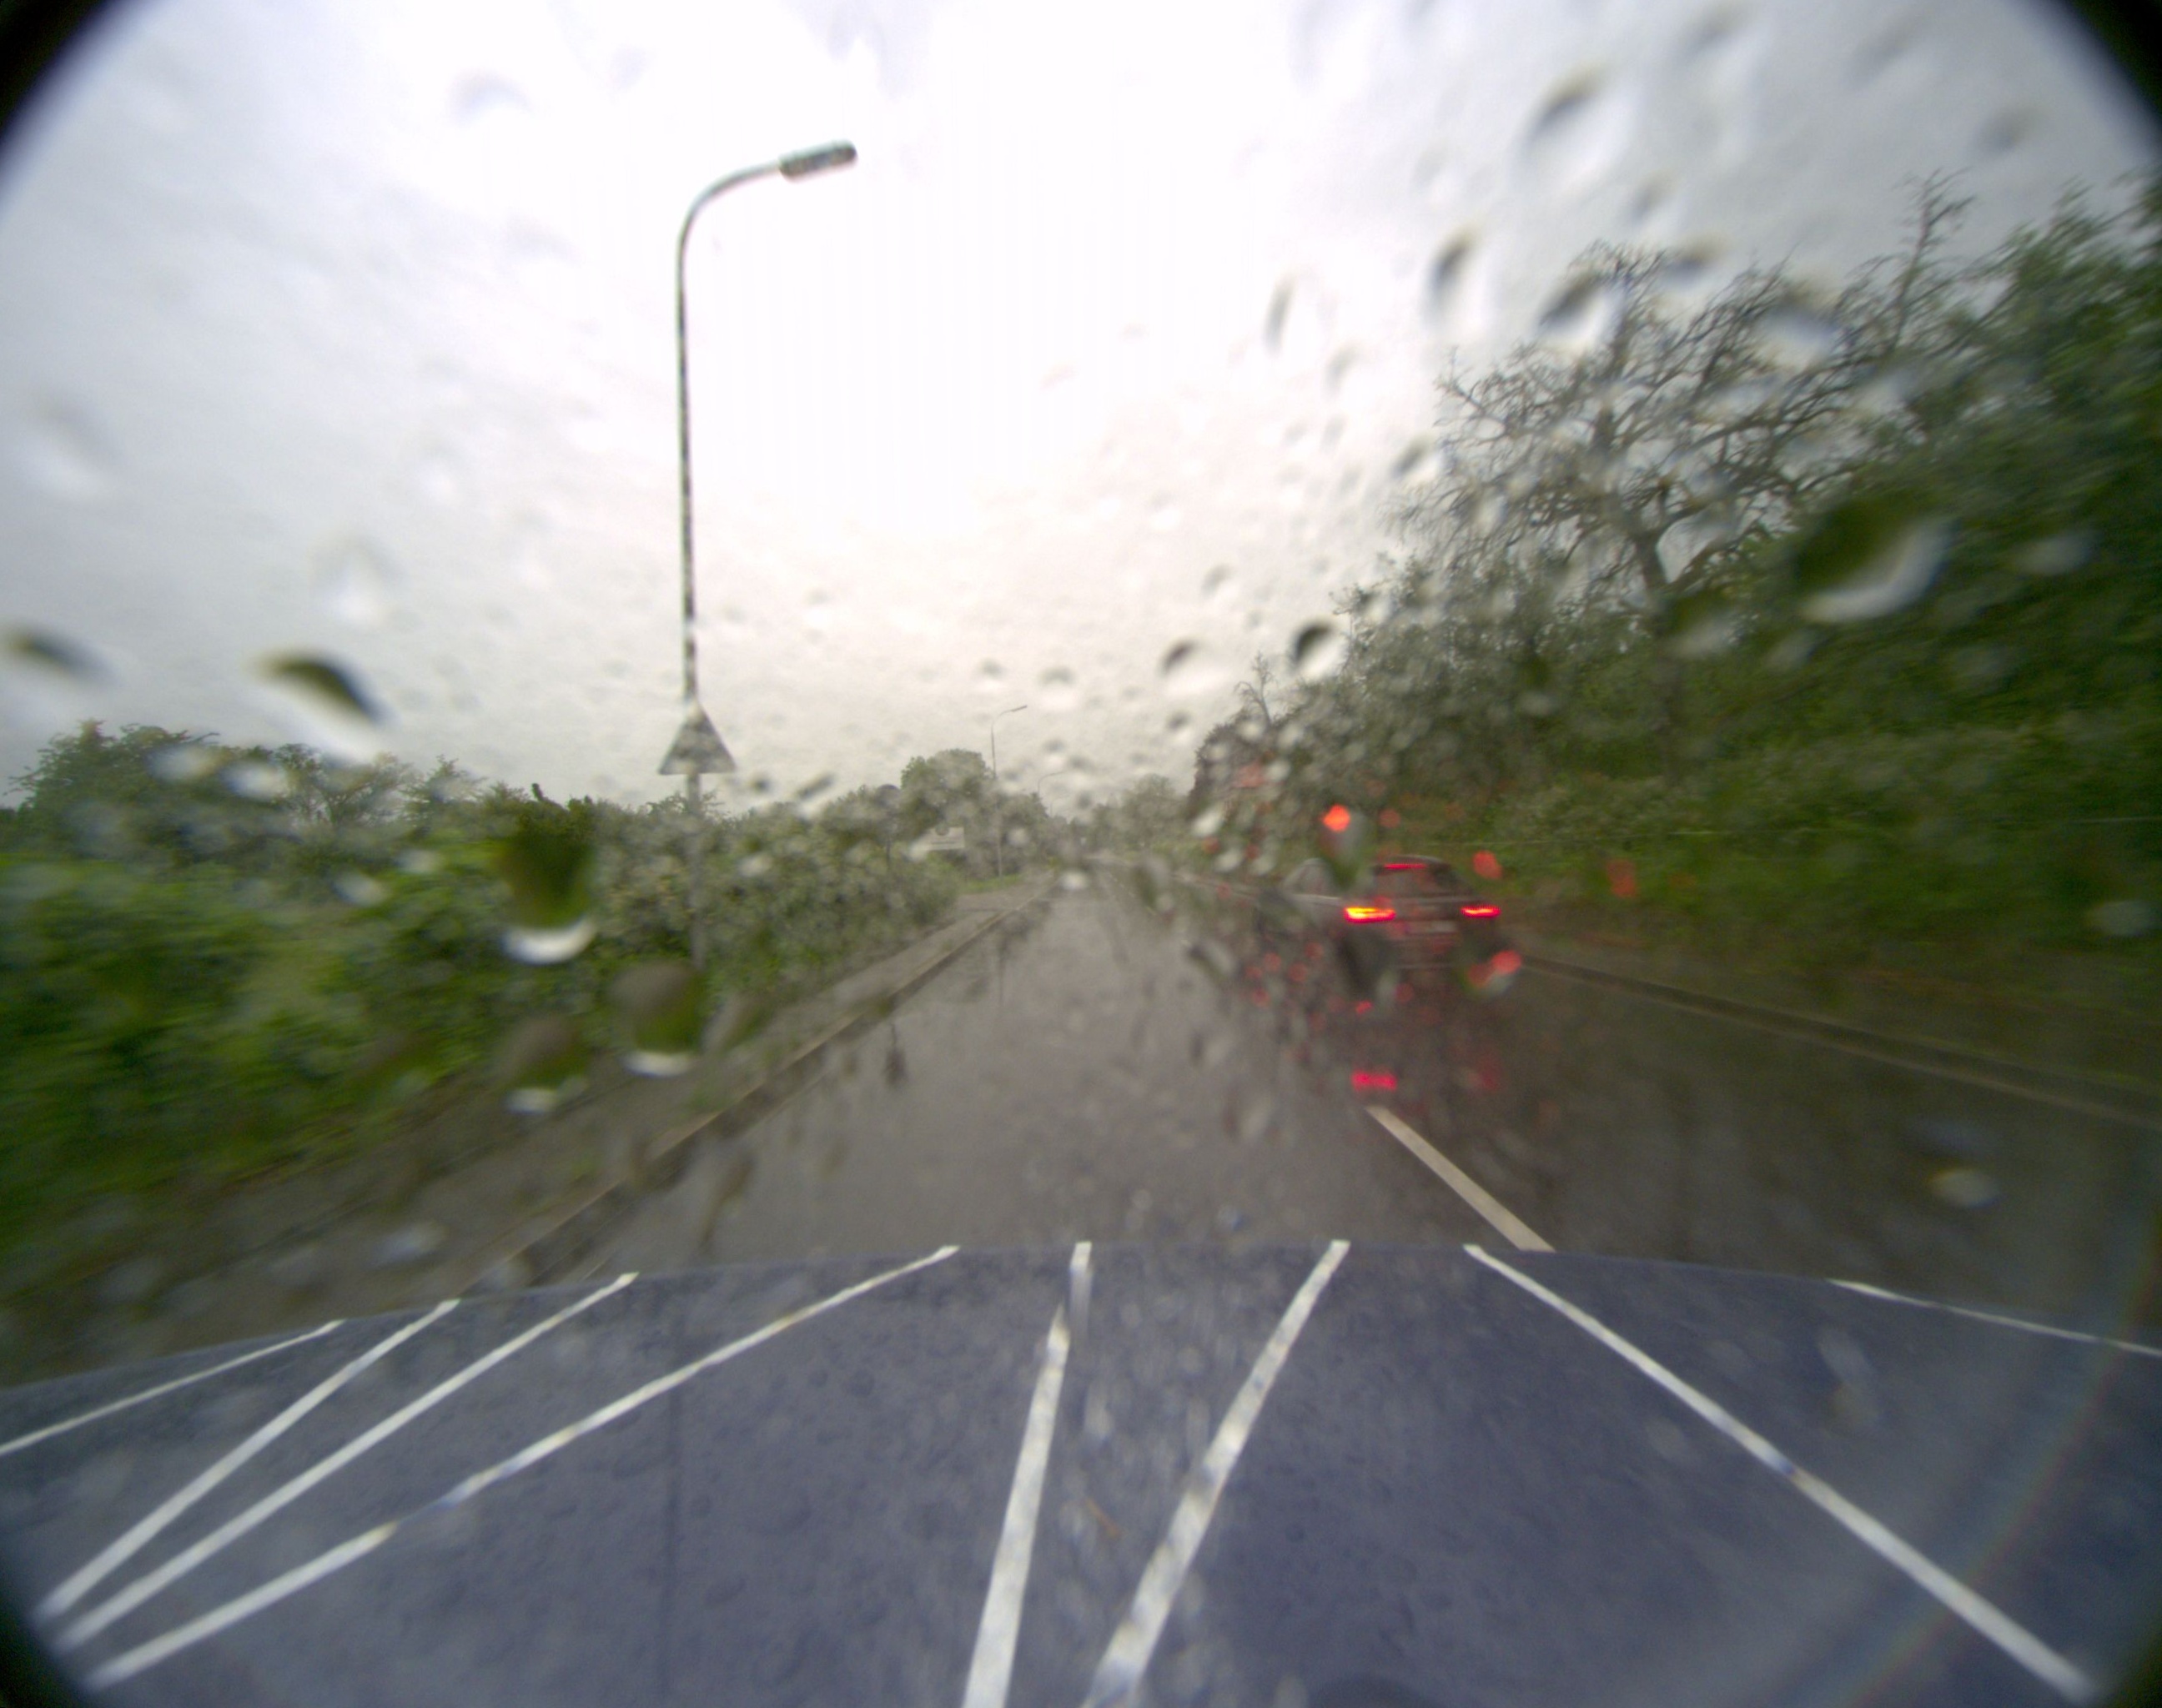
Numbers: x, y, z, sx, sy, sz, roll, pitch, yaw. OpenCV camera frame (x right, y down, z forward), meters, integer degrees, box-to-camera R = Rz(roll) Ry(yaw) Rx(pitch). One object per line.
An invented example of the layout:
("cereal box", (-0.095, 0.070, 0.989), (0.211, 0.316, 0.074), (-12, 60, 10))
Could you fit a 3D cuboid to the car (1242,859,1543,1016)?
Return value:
("car", (3.486, 0.824, 9.580), (1.998, 1.445, 4.428), (-2, 0, 1))
